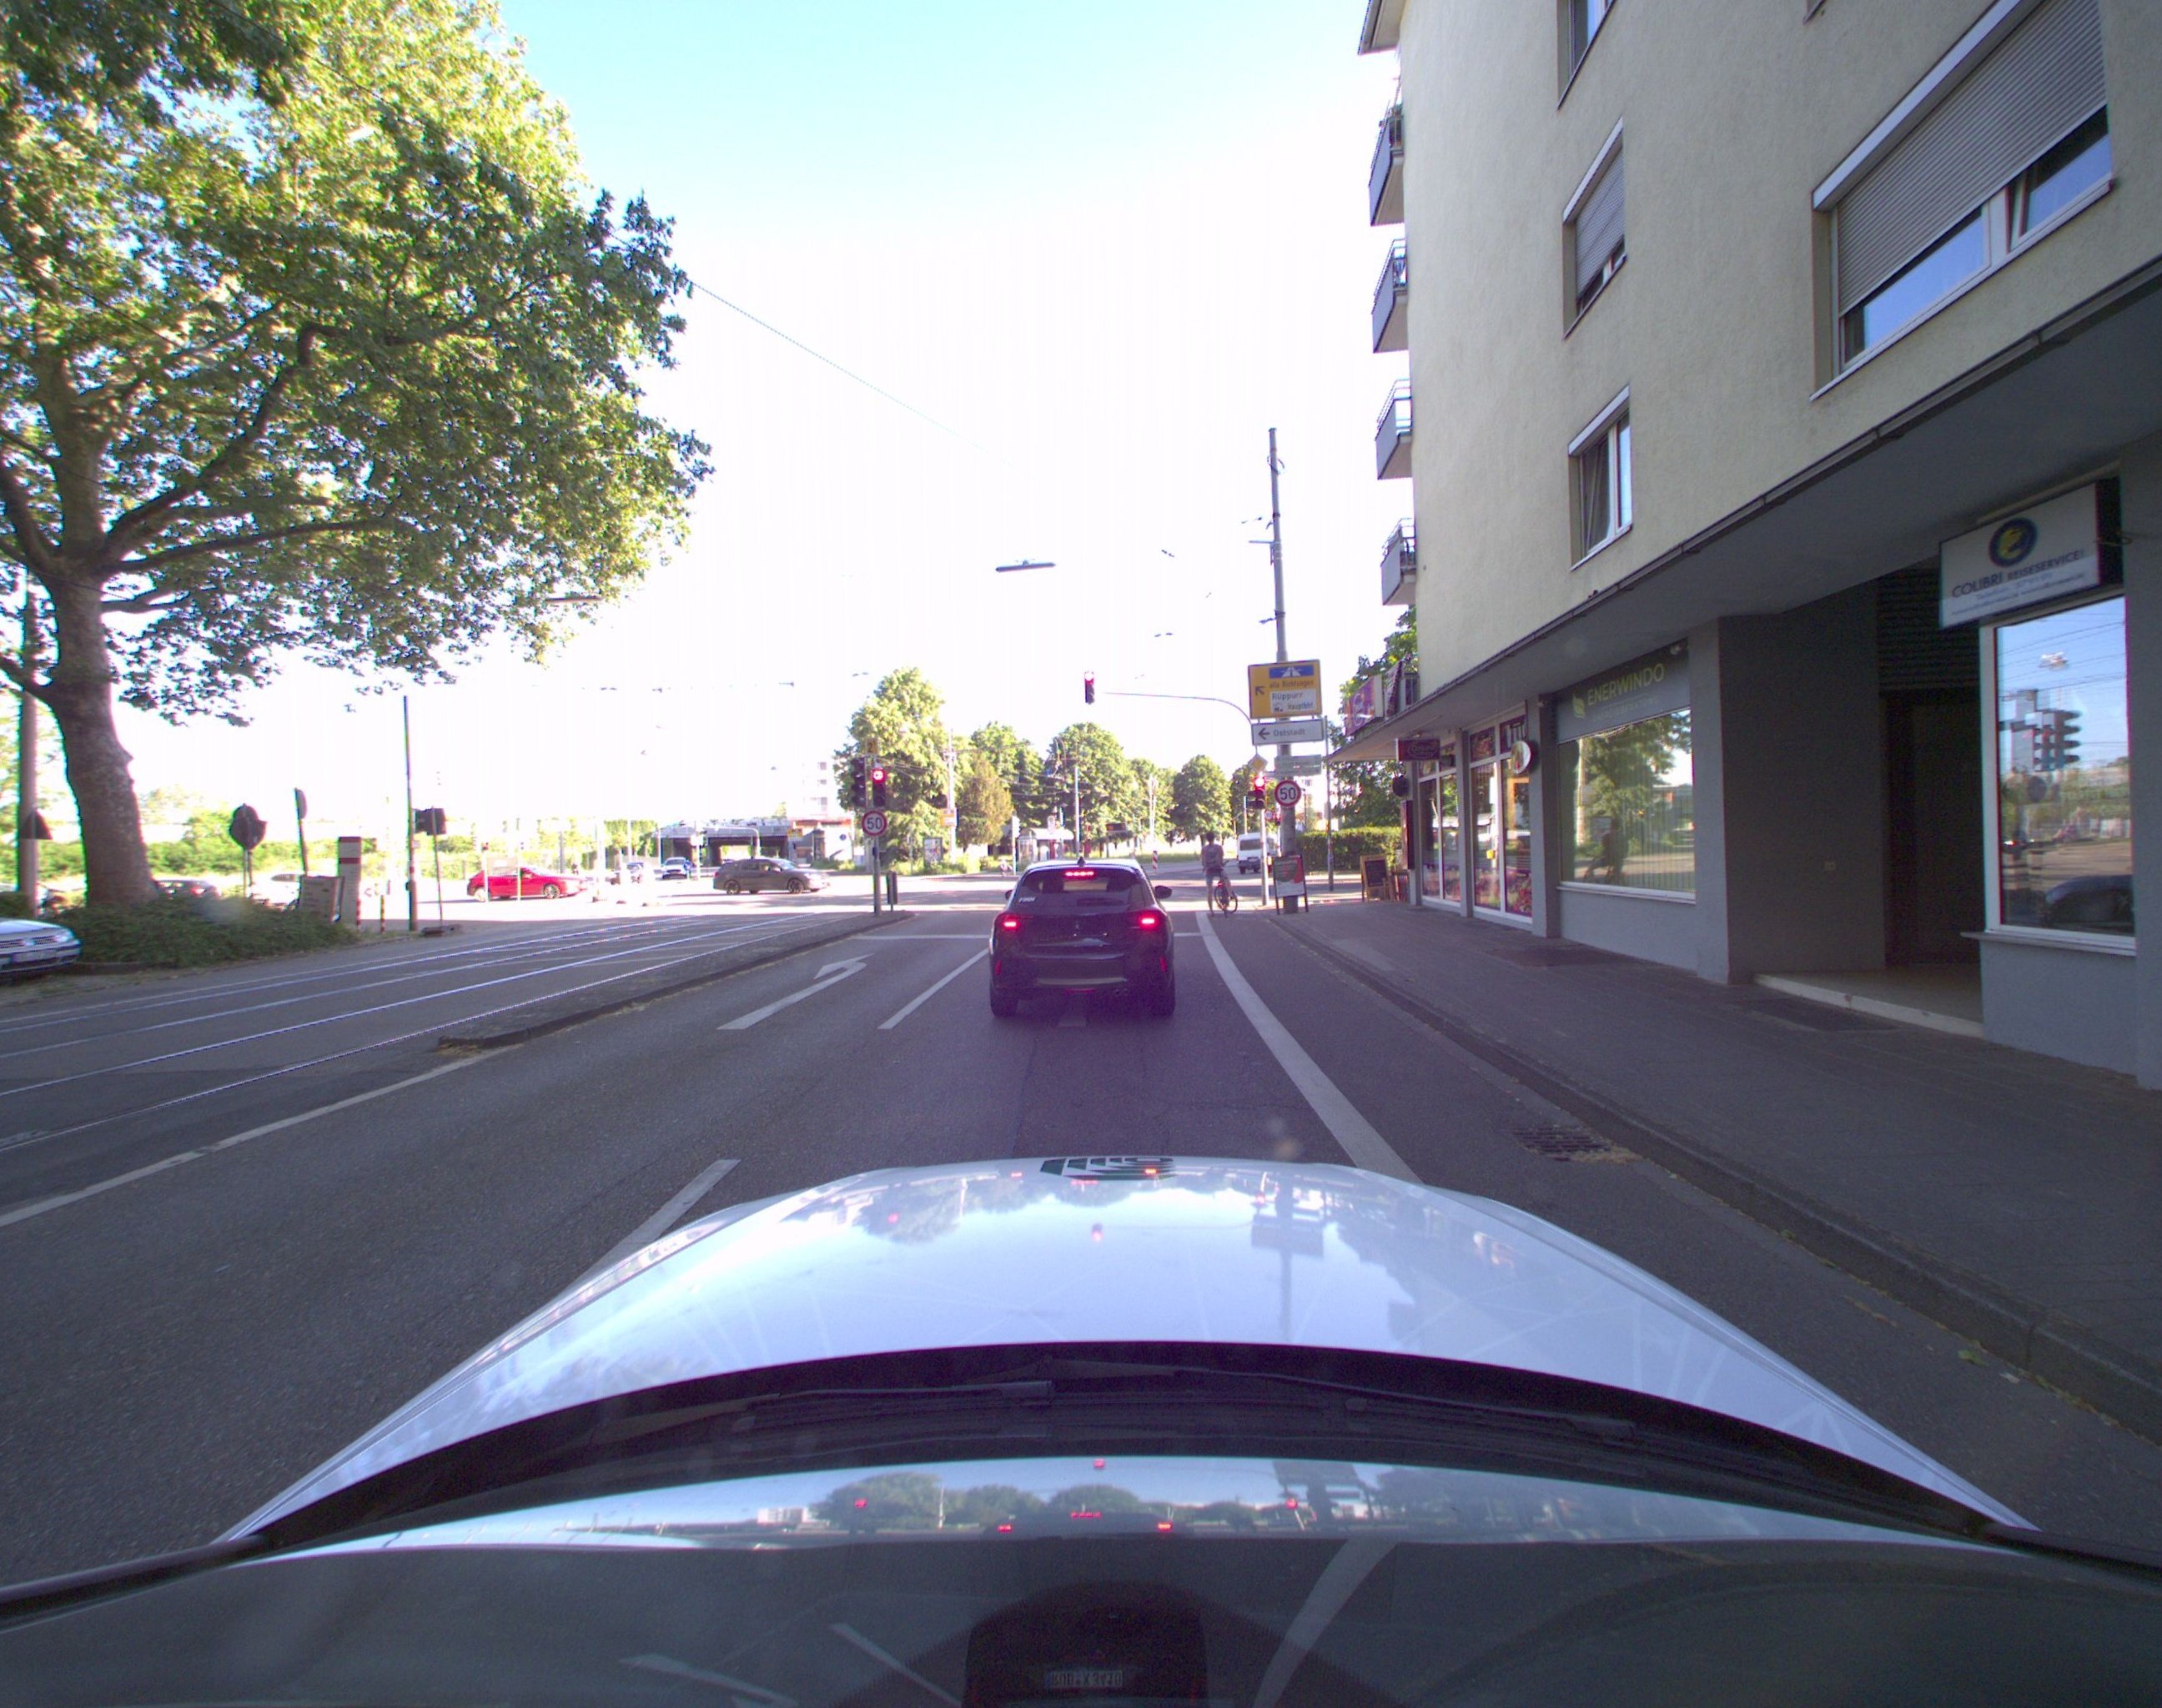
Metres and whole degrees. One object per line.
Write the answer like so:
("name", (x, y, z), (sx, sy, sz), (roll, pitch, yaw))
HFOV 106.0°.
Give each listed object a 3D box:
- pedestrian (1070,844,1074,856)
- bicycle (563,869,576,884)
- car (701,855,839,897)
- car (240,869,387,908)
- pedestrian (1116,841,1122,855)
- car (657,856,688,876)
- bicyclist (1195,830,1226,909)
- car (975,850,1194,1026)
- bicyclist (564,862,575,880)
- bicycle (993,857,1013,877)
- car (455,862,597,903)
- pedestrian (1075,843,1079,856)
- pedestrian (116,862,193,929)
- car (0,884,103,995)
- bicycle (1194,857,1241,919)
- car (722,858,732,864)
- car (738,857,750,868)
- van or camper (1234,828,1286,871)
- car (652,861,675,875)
("pedestrian", (-1.289, -0.611, 120.614), (0.602, 1.872, 0.519), (0, -1, -4))
("bicycle", (-35.713, 1.556, 56.894), (0.528, 0.982, 1.565), (-1, 0, -24))
("car", (-12.422, 0.866, 32.674), (4.701, 1.473, 1.943), (-2, 0, 7))
("car", (-33.277, 1.447, 35.468), (4.200, 1.552, 1.982), (0, -1, -23))
("pedestrian", (5.106, -0.755, 108.479), (0.607, 1.872, 0.515), (0, -1, -26))
("car", (-32.754, 0.953, 65.382), (1.892, 1.585, 3.809), (0, -1, -21))
("bicyclist", (2.839, 0.331, 17.828), (0.529, 1.692, 0.571), (-2, 0, 19))
("car", (0.091, 0.703, 8.919), (1.833, 1.462, 3.985), (-1, 0, 2))
("bicyclist", (-35.712, 1.197, 56.875), (0.528, 1.222, 0.526), (-1, 0, -23))
("bicycle", (-4.439, 0.732, 46.488), (0.793, 1.064, 2.186), (-2, 0, 2))
("car", (-23.535, 1.183, 34.706), (4.475, 1.565, 2.017), (-1, 0, -9))
("pedestrian", (-0.565, -0.626, 119.465), (0.602, 1.872, 0.519), (0, -1, -4))
("pedestrian", (-23.336, 1.025, 20.537), (0.842, 1.647, 0.931), (0, -1, 1))
("car", (-16.630, 1.200, 11.332), (3.957, 1.453, 1.670), (-1, 0, -1))
("bicycle", (3.025, 0.715, 17.946), (0.747, 1.235, 2.024), (-2, 0, 16))
("car", (-74.731, 1.509, 171.869), (1.587, 1.260, 3.397), (-2, 0, -28))
("car", (-54.290, 1.416, 131.189), (1.761, 1.684, 3.713), (0, -1, -22))
("van or camper", (10.222, -0.224, 46.267), (2.011, 2.310, 4.565), (-1, -1, 23))
("car", (-47.331, 1.581, 92.354), (1.892, 1.585, 3.809), (0, -1, -21))
